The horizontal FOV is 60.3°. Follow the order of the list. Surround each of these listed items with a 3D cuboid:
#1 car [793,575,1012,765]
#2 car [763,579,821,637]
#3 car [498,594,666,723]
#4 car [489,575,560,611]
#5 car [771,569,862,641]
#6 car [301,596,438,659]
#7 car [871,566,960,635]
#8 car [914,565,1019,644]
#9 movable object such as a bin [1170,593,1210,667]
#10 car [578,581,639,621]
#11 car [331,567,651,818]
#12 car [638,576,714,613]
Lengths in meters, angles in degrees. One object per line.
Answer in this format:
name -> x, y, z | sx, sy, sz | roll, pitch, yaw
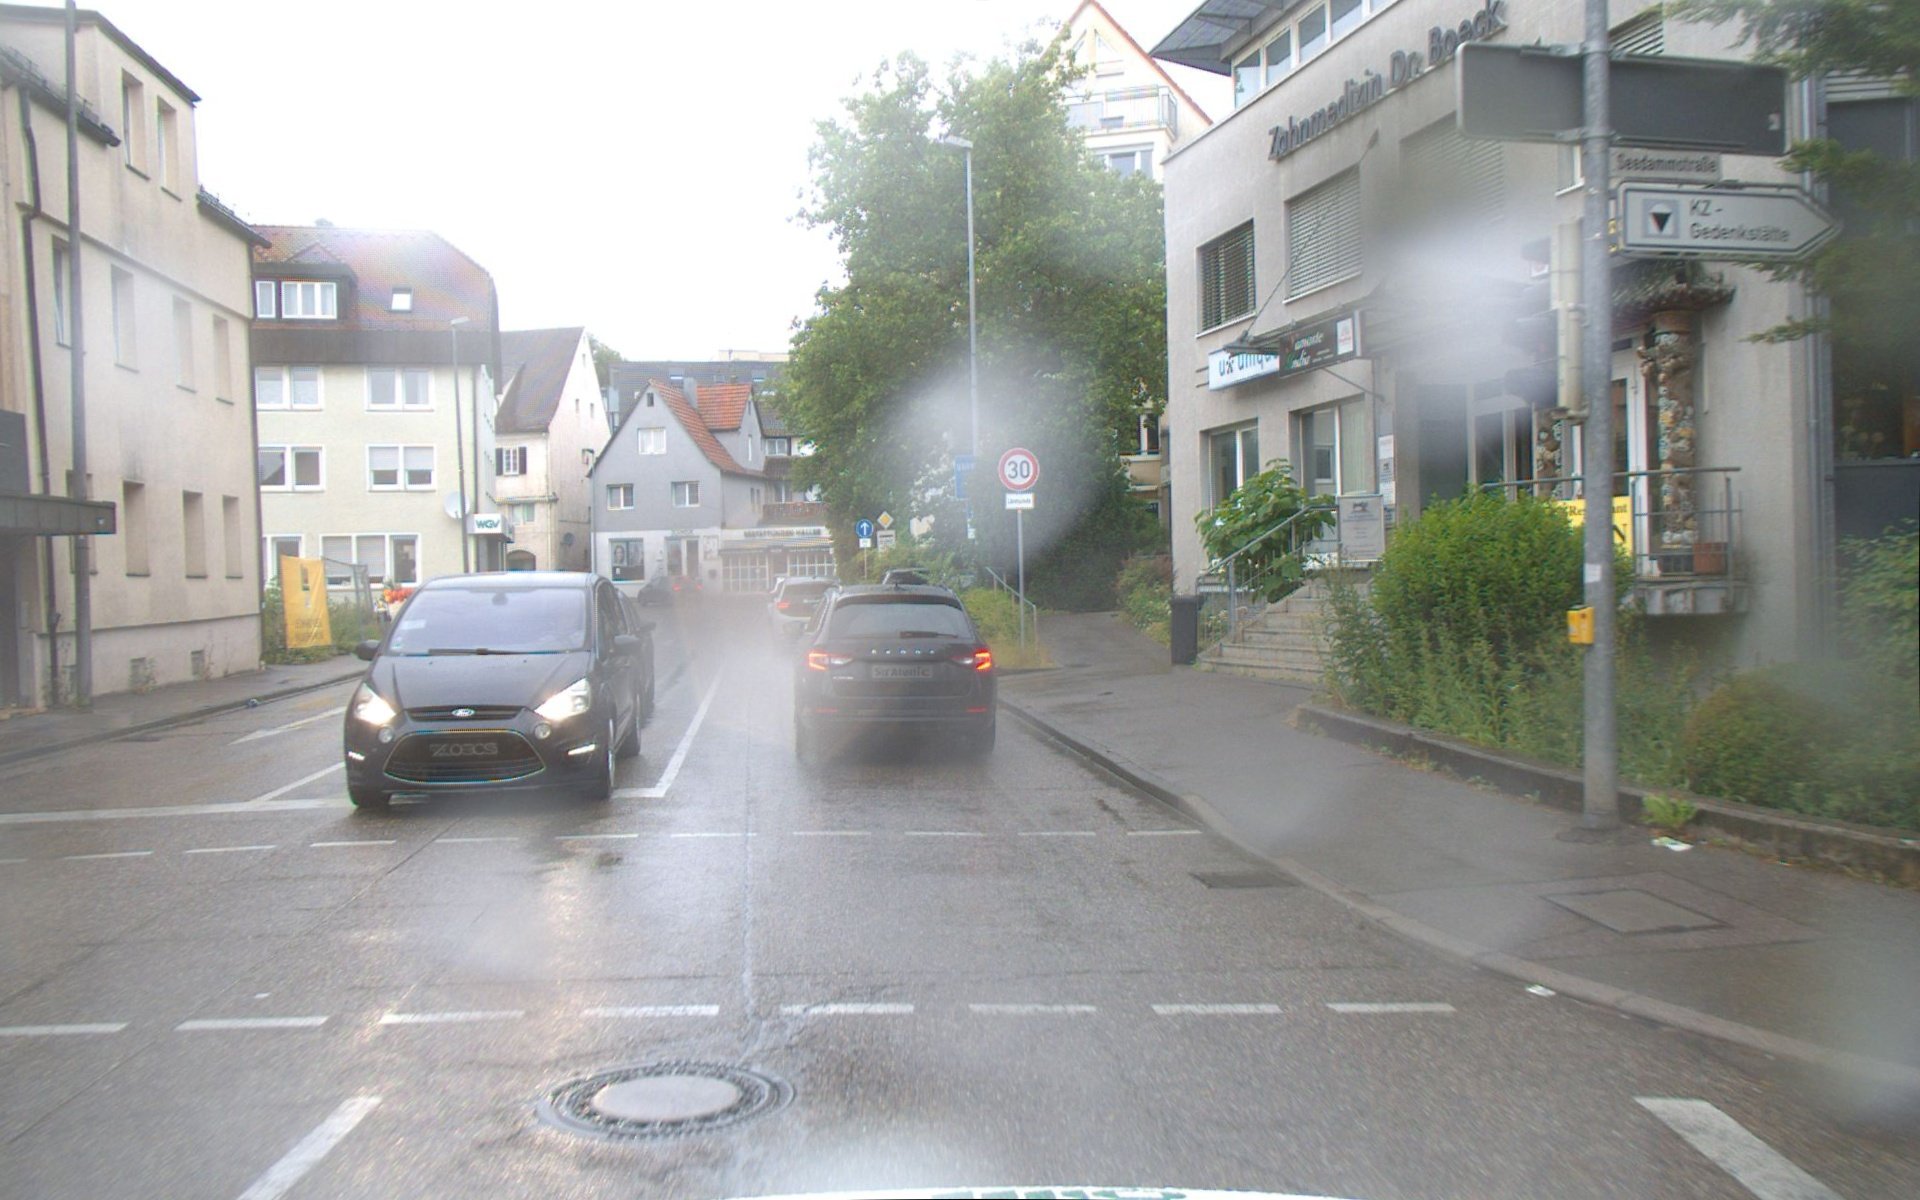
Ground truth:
car -> -0.640, 0.575, 15.583 | 1.747, 1.509, 4.241 | 1, 0, -5
car -> -5.180, 0.277, 51.381 | 1.694, 1.618, 4.179 | 0, -3, -5
car -> -4.429, 0.621, 19.841 | 1.586, 1.357, 3.946 | 0, 1, -7
car -> -23.073, -0.365, 87.504 | 3.620, 1.711, 1.889 | -3, -1, 41
car -> -3.029, 0.095, 34.854 | 1.782, 1.383, 3.985 | -1, 0, -5
car -> -18.874, 0.858, 53.019 | 3.950, 1.410, 1.785 | -8, 5, -18
car -> -1.229, 0.003, 44.116 | 1.818, 1.670, 3.863 | -2, 1, -9
car -> 0.107, 0.083, 38.291 | 1.818, 1.670, 3.531 | -2, 0, -9
movable object such as a bin -> 3.201, 0.412, 22.988 | 0.500, 0.962, 0.603 | 2, 4, 11
car -> -15.037, 0.068, 70.705 | 1.638, 1.598, 3.967 | -1, 0, -26
car -> -3.426, 0.570, 12.863 | 1.750, 1.590, 4.395 | 0, 1, -7
car -> -13.750, -0.272, 80.015 | 1.885, 1.618, 3.628 | -2, -1, -44
